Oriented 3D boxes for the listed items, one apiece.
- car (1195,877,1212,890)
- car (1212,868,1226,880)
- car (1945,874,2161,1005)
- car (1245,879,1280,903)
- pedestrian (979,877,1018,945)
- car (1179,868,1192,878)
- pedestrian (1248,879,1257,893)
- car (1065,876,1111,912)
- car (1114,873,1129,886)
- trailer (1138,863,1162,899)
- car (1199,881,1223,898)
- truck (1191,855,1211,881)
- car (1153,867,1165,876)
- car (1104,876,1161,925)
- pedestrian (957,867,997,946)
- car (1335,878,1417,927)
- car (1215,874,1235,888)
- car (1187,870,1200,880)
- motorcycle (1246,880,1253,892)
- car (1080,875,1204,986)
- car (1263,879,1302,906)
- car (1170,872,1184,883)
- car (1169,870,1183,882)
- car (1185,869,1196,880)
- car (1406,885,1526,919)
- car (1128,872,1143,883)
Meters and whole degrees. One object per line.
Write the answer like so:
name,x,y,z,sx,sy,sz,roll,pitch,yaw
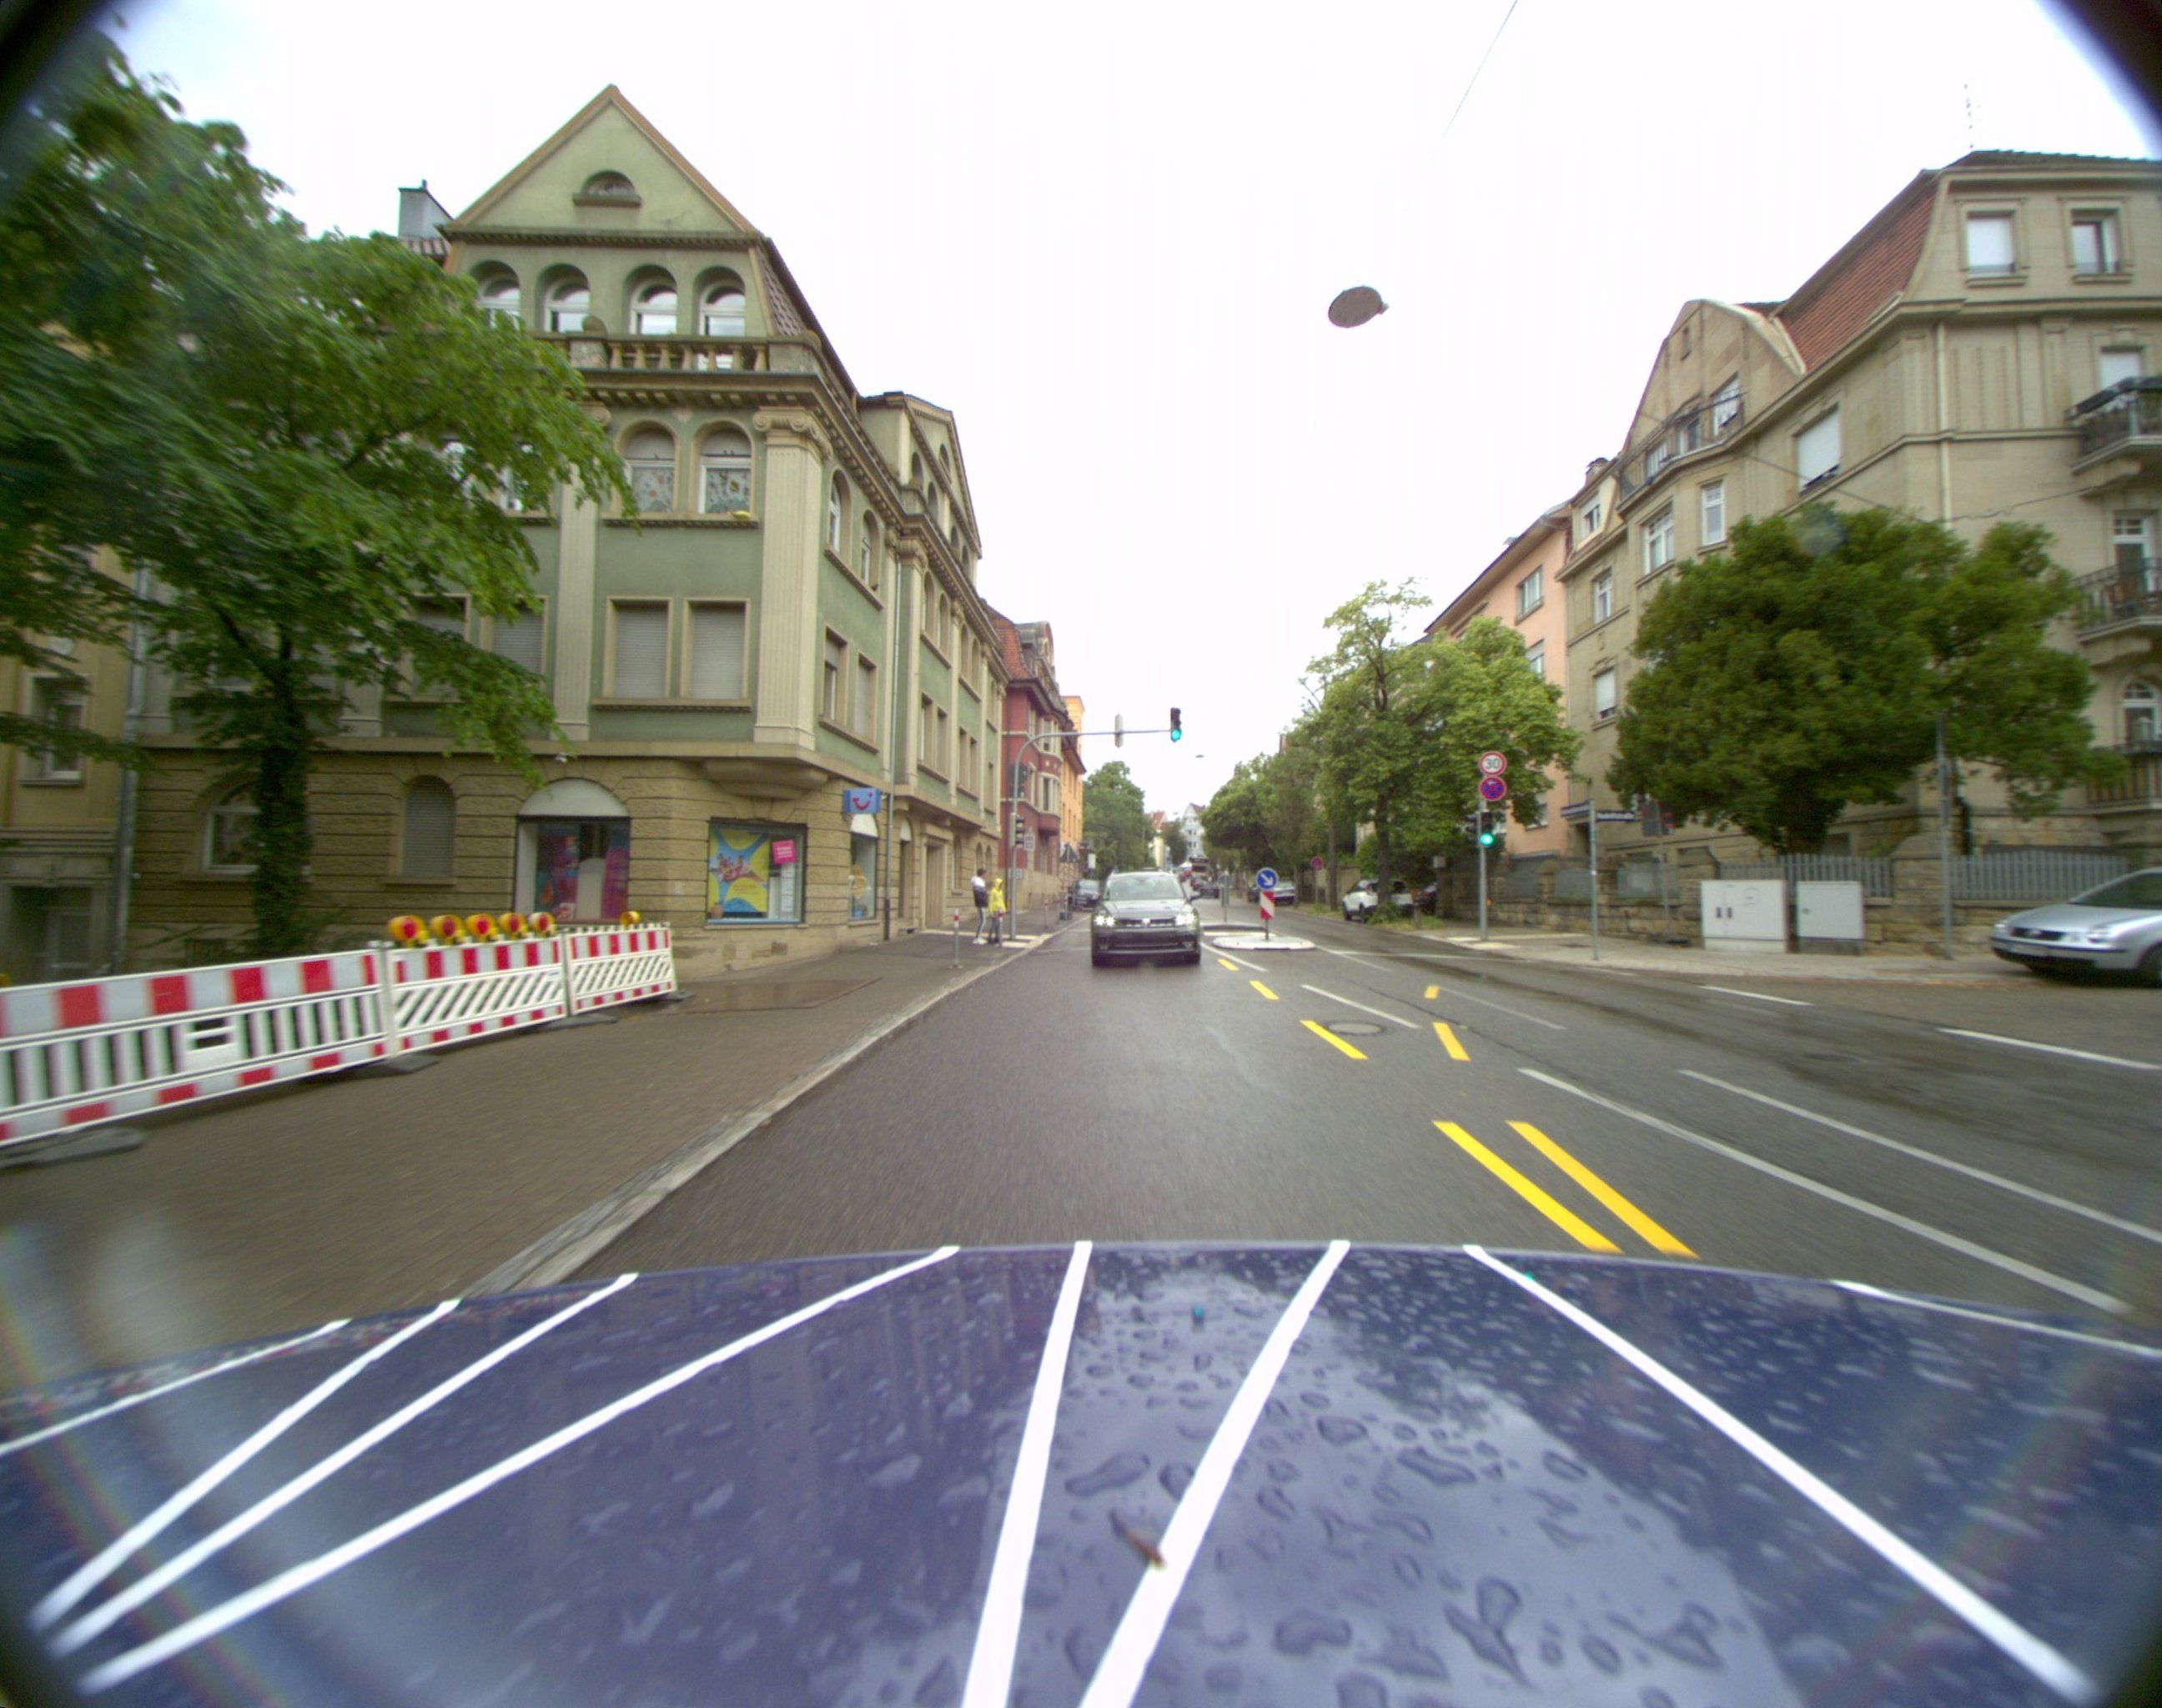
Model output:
car,14.853,3.582,92.225,1.776,1.508,4.594,0,-2,5
car,21.347,3.043,117.158,1.999,1.586,3.831,-3,-1,11
car,14.476,1.034,9.929,3.869,1.400,1.827,-4,1,11
car,13.758,2.786,57.757,1.745,1.550,4.303,-3,-1,3
pedestrian,-2.004,1.375,18.461,0.600,1.575,0.663,3,-2,-43
car,16.476,3.048,119.933,1.714,1.471,4.118,2,0,12
pedestrian,17.365,3.237,76.861,0.767,1.424,0.650,0,0,8
car,0.420,2.045,39.911,1.880,1.620,4.700,3,0,6
car,4.924,3.104,92.026,1.612,1.493,3.960,1,0,6
trailer,5.994,2.362,66.362,1.966,3.023,2.366,-2,-1,5
car,12.093,3.340,70.773,1.819,1.508,4.552,1,-3,6
truck,19.250,2.250,122.522,2.653,3.831,9.313,2,-1,6
car,14.572,3.251,141.689,1.923,1.552,4.016,3,0,10
car,2.113,1.768,29.967,1.924,1.641,4.489,-2,-1,7
pedestrian,-2.408,1.209,17.656,0.664,1.763,0.721,2,-1,9
car,10.904,1.763,28.424,1.745,1.550,4.304,-2,-1,6
car,17.400,3.267,91.913,1.745,1.550,4.304,-2,-1,4
car,15.904,2.953,107.336,1.775,1.459,4.752,0,-1,9
motorcycle,18.381,3.446,82.780,0.656,1.230,1.764,0,0,9
car,1.161,1.210,14.014,1.859,1.641,5.198,0,-1,6
car,13.070,2.484,49.537,1.745,1.550,4.304,-2,-1,6
car,14.075,3.390,111.126,1.765,1.423,3.888,0,0,11
car,13.096,2.967,104.488,1.775,1.508,4.103,0,0,9
car,19.074,3.589,132.171,1.654,1.698,4.117,2,1,12
car,15.778,1.935,31.282,3.995,1.318,1.838,0,-2,4
car,7.997,3.376,110.879,1.744,1.454,4.887,3,0,9
